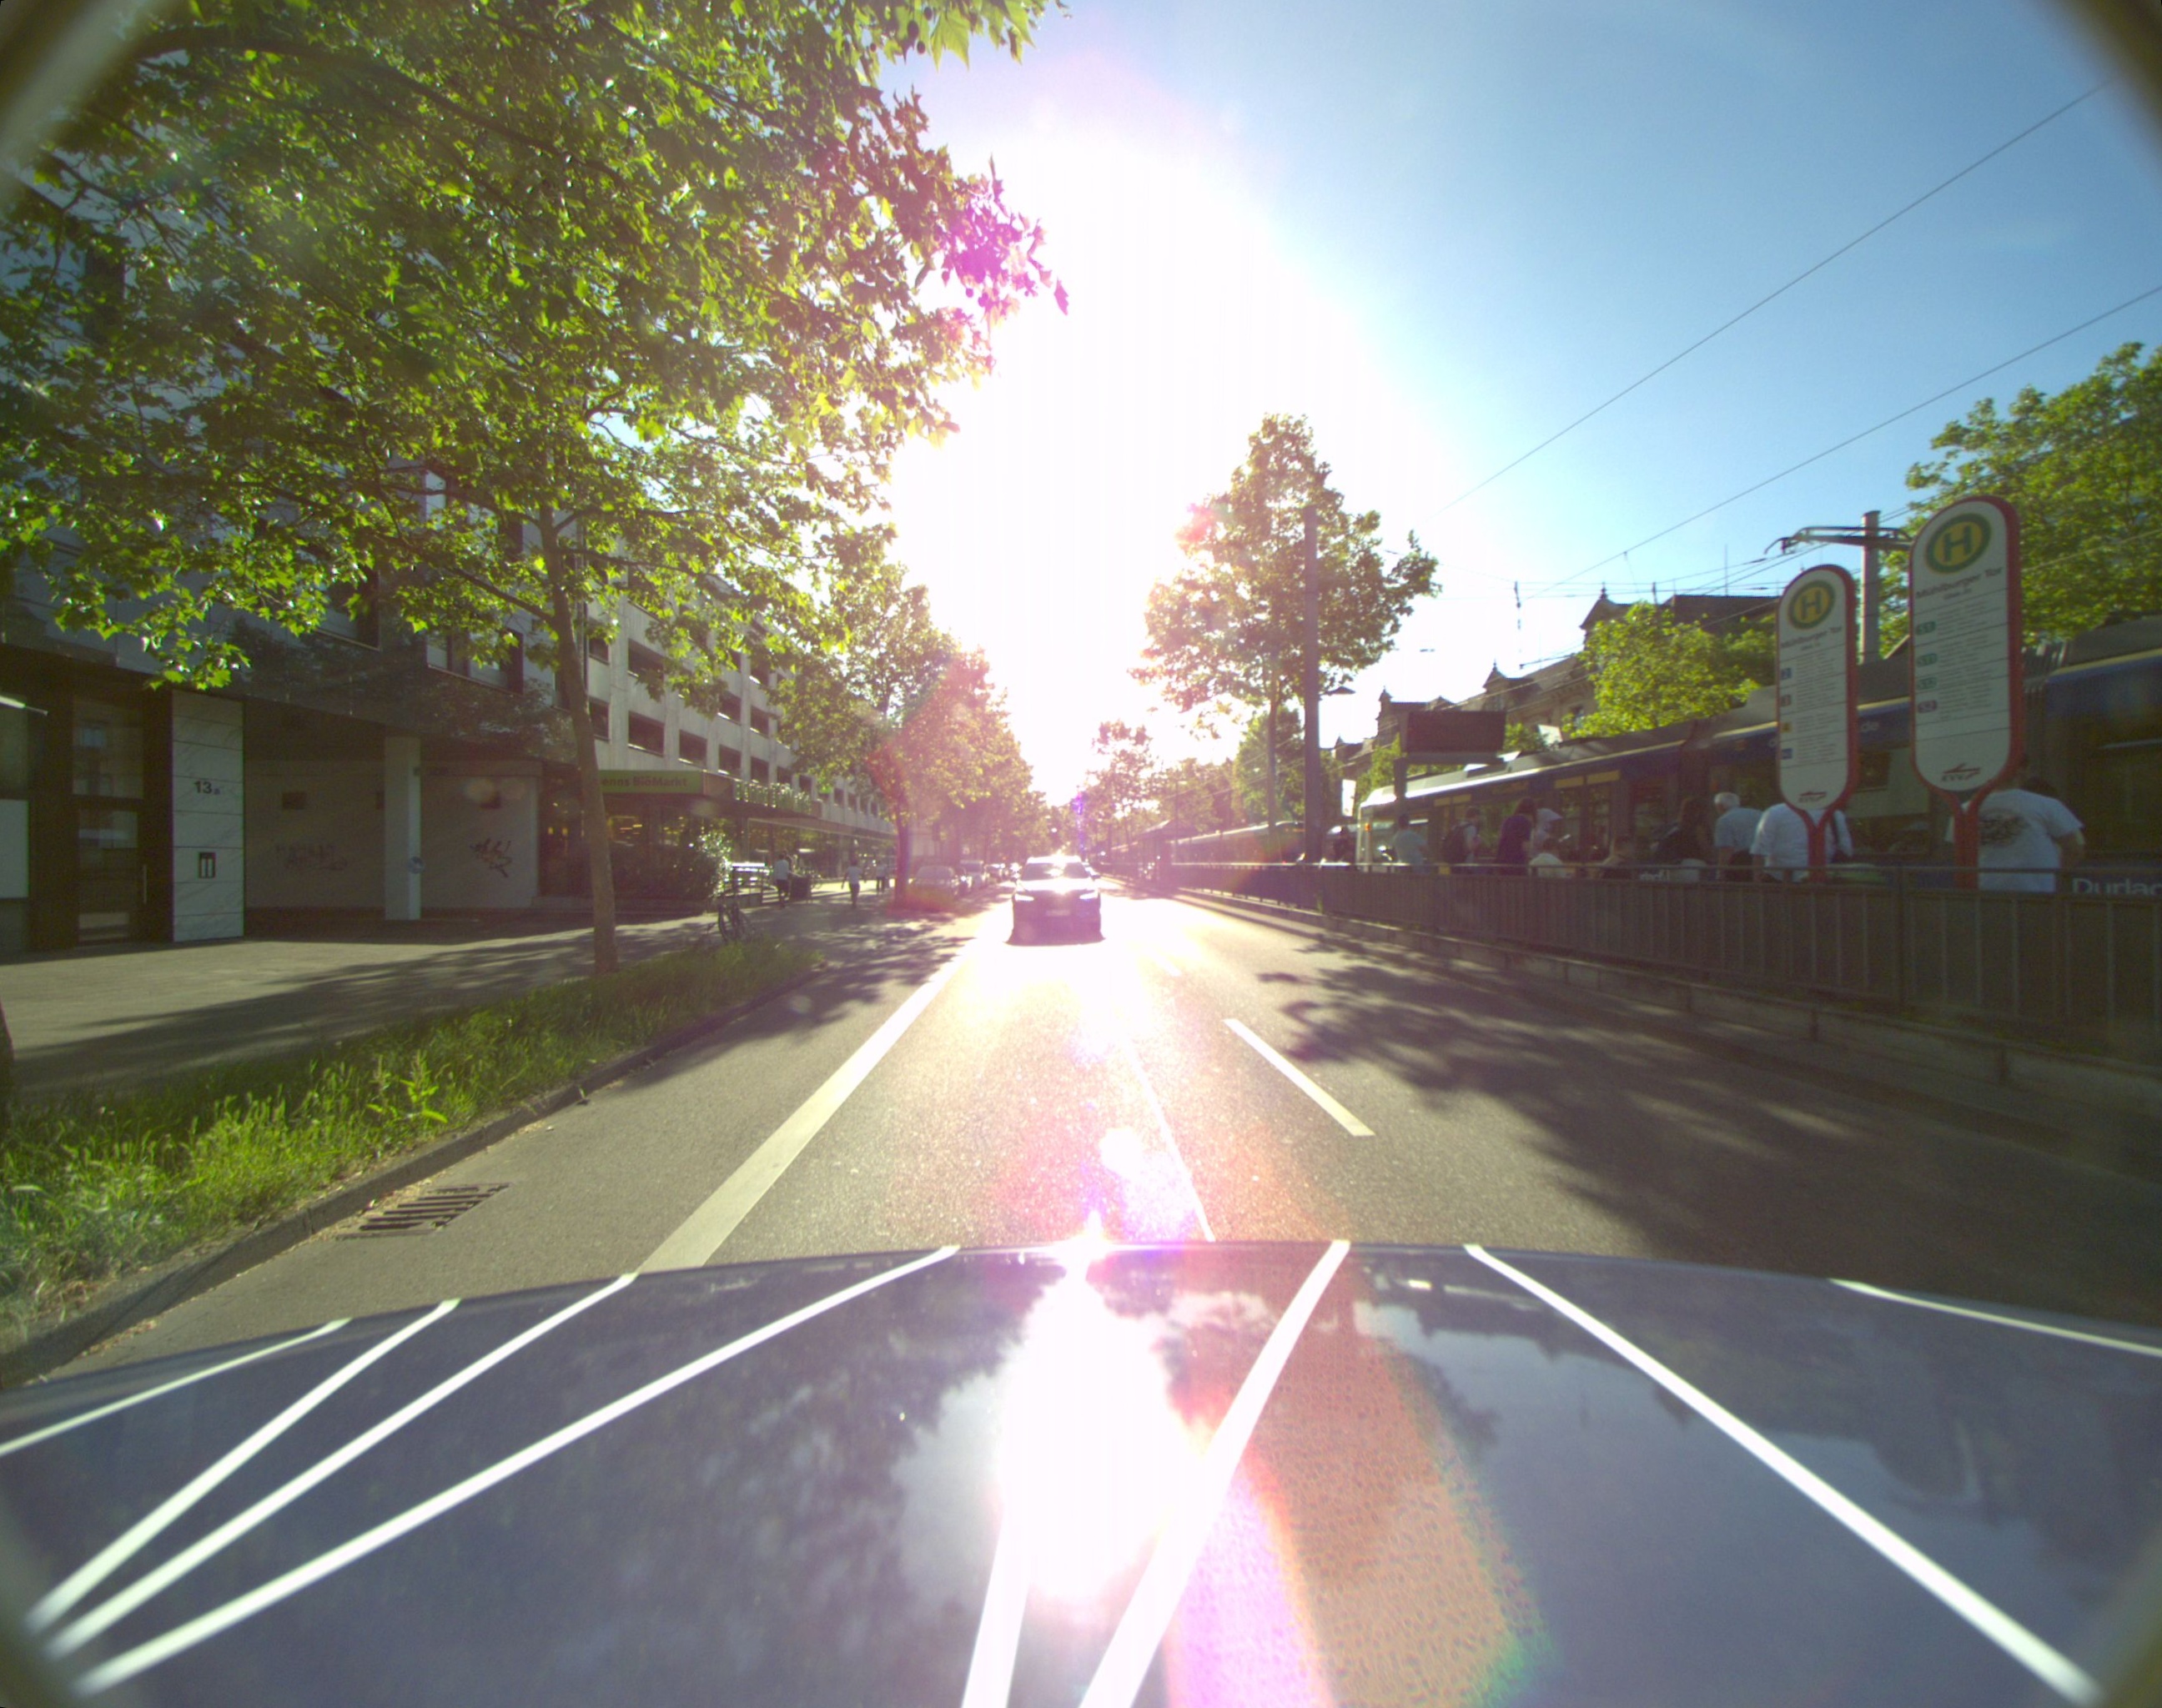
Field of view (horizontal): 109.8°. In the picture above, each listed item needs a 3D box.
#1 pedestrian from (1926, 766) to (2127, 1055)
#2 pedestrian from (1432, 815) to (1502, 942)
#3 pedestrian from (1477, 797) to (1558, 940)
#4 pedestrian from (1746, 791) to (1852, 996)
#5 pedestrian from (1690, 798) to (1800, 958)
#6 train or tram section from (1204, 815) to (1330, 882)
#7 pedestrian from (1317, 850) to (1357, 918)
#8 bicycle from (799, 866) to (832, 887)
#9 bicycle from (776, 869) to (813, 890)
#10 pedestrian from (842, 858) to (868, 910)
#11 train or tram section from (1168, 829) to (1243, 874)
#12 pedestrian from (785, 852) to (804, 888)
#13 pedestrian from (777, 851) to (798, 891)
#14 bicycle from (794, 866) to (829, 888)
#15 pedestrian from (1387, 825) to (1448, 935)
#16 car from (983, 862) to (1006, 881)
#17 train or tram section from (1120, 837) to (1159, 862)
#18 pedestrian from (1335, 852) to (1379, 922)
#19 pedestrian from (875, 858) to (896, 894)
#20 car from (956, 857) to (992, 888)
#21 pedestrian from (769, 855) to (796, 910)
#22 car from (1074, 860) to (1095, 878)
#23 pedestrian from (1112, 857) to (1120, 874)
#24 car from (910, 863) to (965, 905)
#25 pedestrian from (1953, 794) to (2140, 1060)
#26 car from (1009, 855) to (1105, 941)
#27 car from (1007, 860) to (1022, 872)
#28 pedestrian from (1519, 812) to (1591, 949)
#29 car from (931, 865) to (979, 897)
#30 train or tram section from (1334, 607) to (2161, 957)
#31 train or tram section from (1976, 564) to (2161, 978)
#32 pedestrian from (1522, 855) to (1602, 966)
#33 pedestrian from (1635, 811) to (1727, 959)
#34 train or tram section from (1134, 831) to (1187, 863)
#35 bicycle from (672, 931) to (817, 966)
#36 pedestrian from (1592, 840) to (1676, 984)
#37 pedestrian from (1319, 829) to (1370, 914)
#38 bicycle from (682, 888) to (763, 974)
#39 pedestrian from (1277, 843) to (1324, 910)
[{"bbox_3d":[5.896,0.332,4.767,0.507,1.692,0.611,0,0,-6],"label":"pedestrian"},{"bbox_3d":[5.238,0.326,10.337,0.662,1.686,0.571,0,0,-2],"label":"pedestrian"},{"bbox_3d":[5.305,0.172,9.259,0.662,1.686,0.571,0,0,-2],"label":"pedestrian"},{"bbox_3d":[6.247,0.328,6.639,0.506,1.692,0.613,0,0,25],"label":"pedestrian"},{"bbox_3d":[7.052,0.248,8.091,0.620,1.640,0.622,0,0,-6],"label":"pedestrian"},{"bbox_3d":[11.257,-0.245,48.971,2.857,3.414,18.211,-2,0,-2],"label":"train or tram section"},{"bbox_3d":[4.951,0.564,14.726,0.535,1.291,0.604,0,0,-6],"label":"pedestrian"},{"bbox_3d":[-14.023,1.181,40.134,1.700,1.049,0.587,2,0,24],"label":"bicycle"},{"bbox_3d":[-13.352,1.174,35.424,1.648,0.910,0.587,1,-3,24],"label":"bicycle"},{"bbox_3d":[-7.415,0.972,24.965,0.561,1.694,1.052,0,0,-3],"label":"pedestrian"},{"bbox_3d":[10.555,-0.132,67.168,2.879,3.414,18.272,-2,0,-2],"label":"train or tram section"},{"bbox_3d":[-13.860,0.772,36.757,0.614,1.705,0.611,6,-1,-27],"label":"pedestrian"},{"bbox_3d":[-12.591,0.723,32.597,0.559,1.668,0.882,2,0,-3],"label":"pedestrian"},{"bbox_3d":[-13.851,1.192,39.070,1.700,1.049,0.587,1,-1,24],"label":"bicycle"},{"bbox_3d":[5.078,0.386,11.484,0.662,1.624,0.571,0,0,-2],"label":"pedestrian"},{"bbox_3d":[-7.150,1.414,62.861,1.677,1.430,3.689,2,0,-4],"label":"car"},{"bbox_3d":[6.406,-0.445,85.048,2.570,2.516,15.069,-1,0,-2],"label":"train or tram section"},{"bbox_3d":[4.997,0.592,13.770,0.535,1.239,0.604,0,0,-4],"label":"pedestrian"},{"bbox_3d":[-9.050,1.019,35.162,0.699,1.603,0.868,2,0,-1],"label":"pedestrian"},{"bbox_3d":[-6.627,1.122,47.324,1.769,1.781,4.392,0,-1,-2],"label":"car"},{"bbox_3d":[-9.724,0.917,24.762,0.561,1.734,0.878,0,0,-3],"label":"pedestrian"},{"bbox_3d":[0.245,1.279,65.076,1.707,1.407,3.875,-2,0,-1],"label":"car"},{"bbox_3d":[3.343,1.079,72.638,0.701,1.626,0.761,-1,0,-3],"label":"pedestrian"},{"bbox_3d":[-5.764,1.152,30.953,1.569,1.541,3.999,-1,0,-2],"label":"car"},{"bbox_3d":[6.769,0.486,5.352,0.555,1.760,0.611,0,0,-6],"label":"pedestrian"},{"bbox_3d":[-0.577,0.891,17.556,1.914,1.695,4.272,-1,0,-3],"label":"car"},{"bbox_3d":[-9.068,1.594,104.265,1.839,1.555,4.272,-1,0,-3],"label":"car"},{"bbox_3d":[6.063,0.328,9.741,0.516,1.698,0.621,0,0,-3],"label":"pedestrian"},{"bbox_3d":[-6.186,1.286,37.753,1.766,1.409,4.699,-1,0,-3],"label":"car"},{"bbox_3d":[9.515,-0.797,15.129,2.922,3.241,15.887,-2,1,-3],"label":"train or tram section"},{"bbox_3d":[10.178,-0.634,0.665,2.922,3.241,13.108,-2,1,-3],"label":"train or tram section"},{"bbox_3d":[5.321,0.605,8.428,0.546,1.185,0.531,0,0,-3],"label":"pedestrian"},{"bbox_3d":[6.315,0.314,8.015,0.546,1.510,0.531,0,0,-3],"label":"pedestrian"},{"bbox_3d":[7.051,-0.519,69.700,2.570,2.549,15.671,-1,0,-2],"label":"train or tram section"},{"bbox_3d":[-5.074,1.425,11.608,1.613,0.351,1.388,0,0,-2],"label":"bicycle"},{"bbox_3d":[5.218,0.528,7.191,0.417,1.308,0.507,0,0,-4],"label":"pedestrian"},{"bbox_3d":[5.525,0.369,15.981,0.778,1.742,0.723,0,0,-6],"label":"pedestrian"},{"bbox_3d":[-5.431,1.126,11.619,0.791,1.126,1.844,0,0,-15],"label":"bicycle"},{"bbox_3d":[4.991,0.501,17.309,0.778,1.501,0.751,0,0,-6],"label":"pedestrian"}]
